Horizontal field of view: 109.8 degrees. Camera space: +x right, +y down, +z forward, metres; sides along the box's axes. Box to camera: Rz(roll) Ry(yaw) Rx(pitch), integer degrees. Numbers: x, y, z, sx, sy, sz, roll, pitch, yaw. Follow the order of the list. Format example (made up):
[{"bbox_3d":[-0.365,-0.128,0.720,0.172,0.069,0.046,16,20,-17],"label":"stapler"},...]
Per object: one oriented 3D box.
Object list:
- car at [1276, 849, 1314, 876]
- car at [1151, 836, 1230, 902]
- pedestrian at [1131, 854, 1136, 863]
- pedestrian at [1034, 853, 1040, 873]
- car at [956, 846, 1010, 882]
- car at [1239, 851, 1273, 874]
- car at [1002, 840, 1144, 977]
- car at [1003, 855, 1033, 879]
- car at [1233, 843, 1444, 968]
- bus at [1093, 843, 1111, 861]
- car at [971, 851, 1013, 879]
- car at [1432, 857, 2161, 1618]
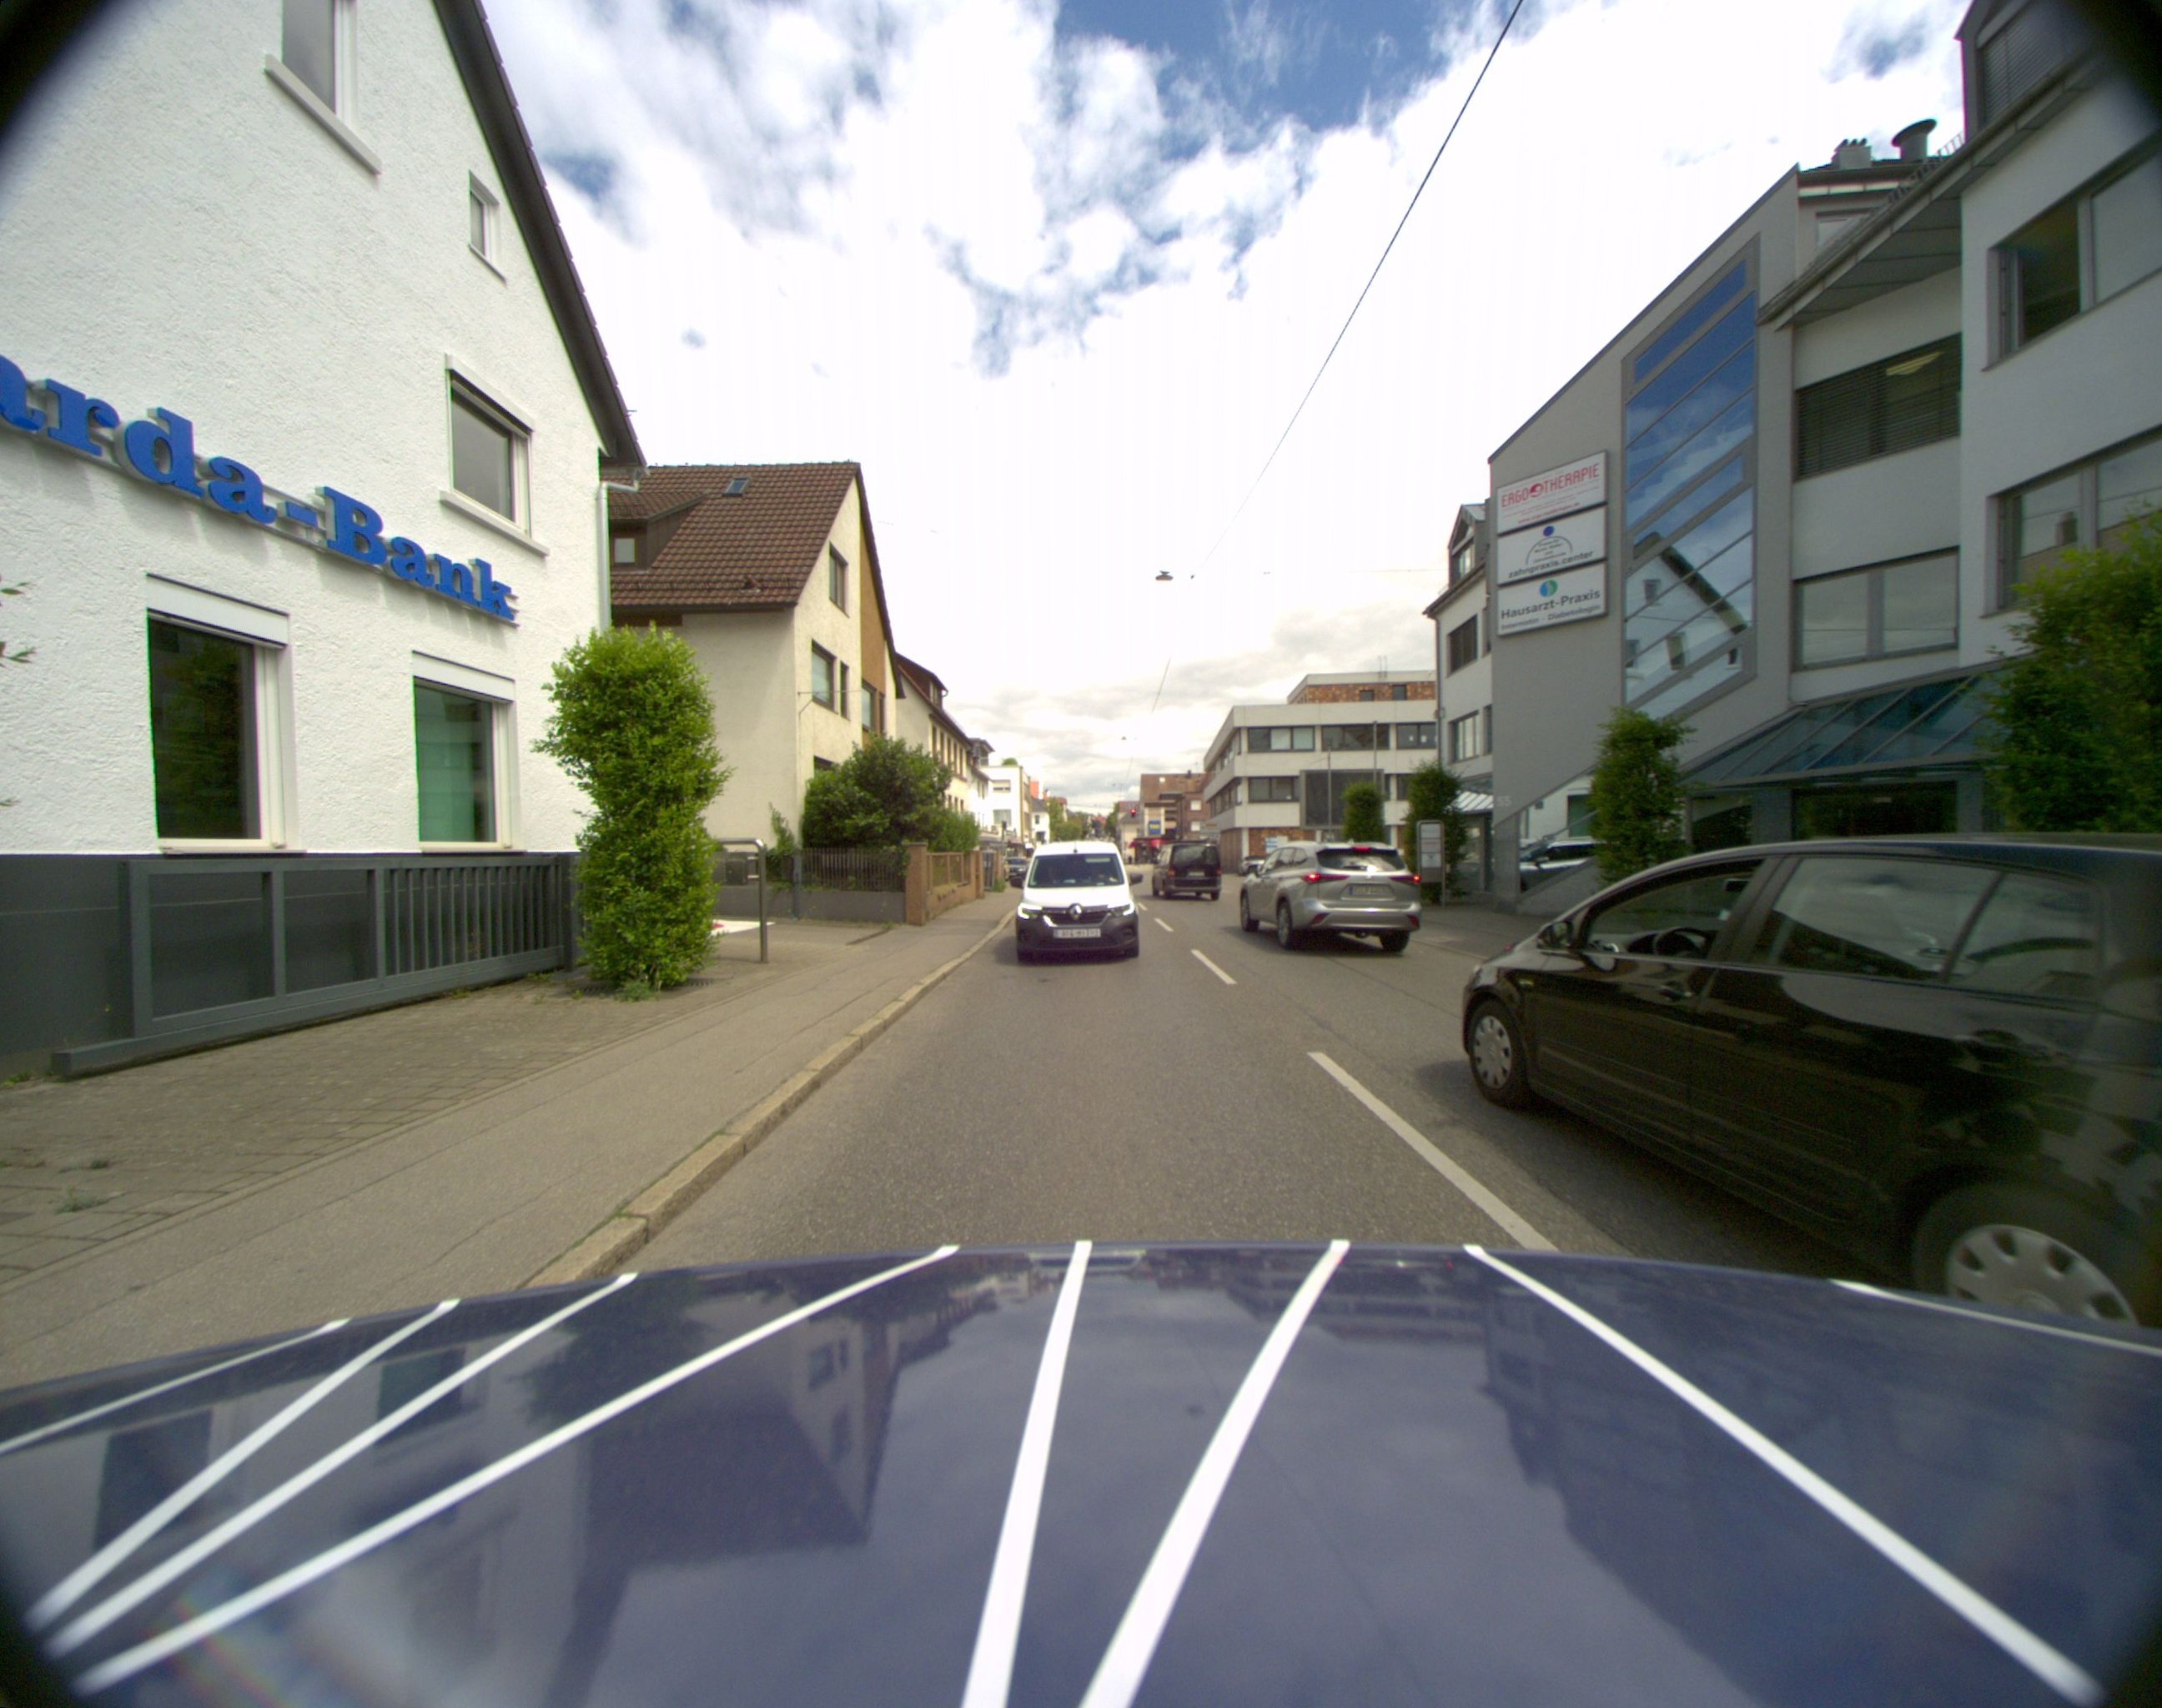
[{"bbox_3d":[14.394,0.527,51.298,1.896,1.687,3.802,1,1,8],"label":"car"},{"bbox_3d":[3.799,0.472,27.309,2.116,2.139,4.882,0,0,0],"label":"car"},{"bbox_3d":[8.063,0.731,117.140,0.669,1.424,0.778,0,1,5],"label":"pedestrian"},{"bbox_3d":[-4.402,0.890,75.621,0.476,2.010,0.918,0,1,2],"label":"pedestrian"},{"bbox_3d":[-4.571,0.439,35.858,1.998,1.610,4.100,-1,0,0],"label":"car"},{"bbox_3d":[11.808,0.547,51.473,1.824,1.321,4.237,-2,1,8],"label":"car"},{"bbox_3d":[-0.019,0.699,12.793,1.870,1.805,5.006,-2,1,2],"label":"car"},{"bbox_3d":[-4.022,0.804,48.937,1.656,1.413,3.999,-1,0,-1],"label":"car"},{"bbox_3d":[4.139,0.702,13.188,1.991,1.727,4.795,1,1,0],"label":"car"},{"bbox_3d":[3.985,-0.427,145.592,3.133,3.239,9.749,-2,1,0],"label":"bus"},{"bbox_3d":[-4.710,0.537,40.672,1.925,1.404,3.999,-1,0,-2],"label":"car"},{"bbox_3d":[3.230,0.832,2.983,1.836,1.575,4.037,0,1,0],"label":"car"}]
